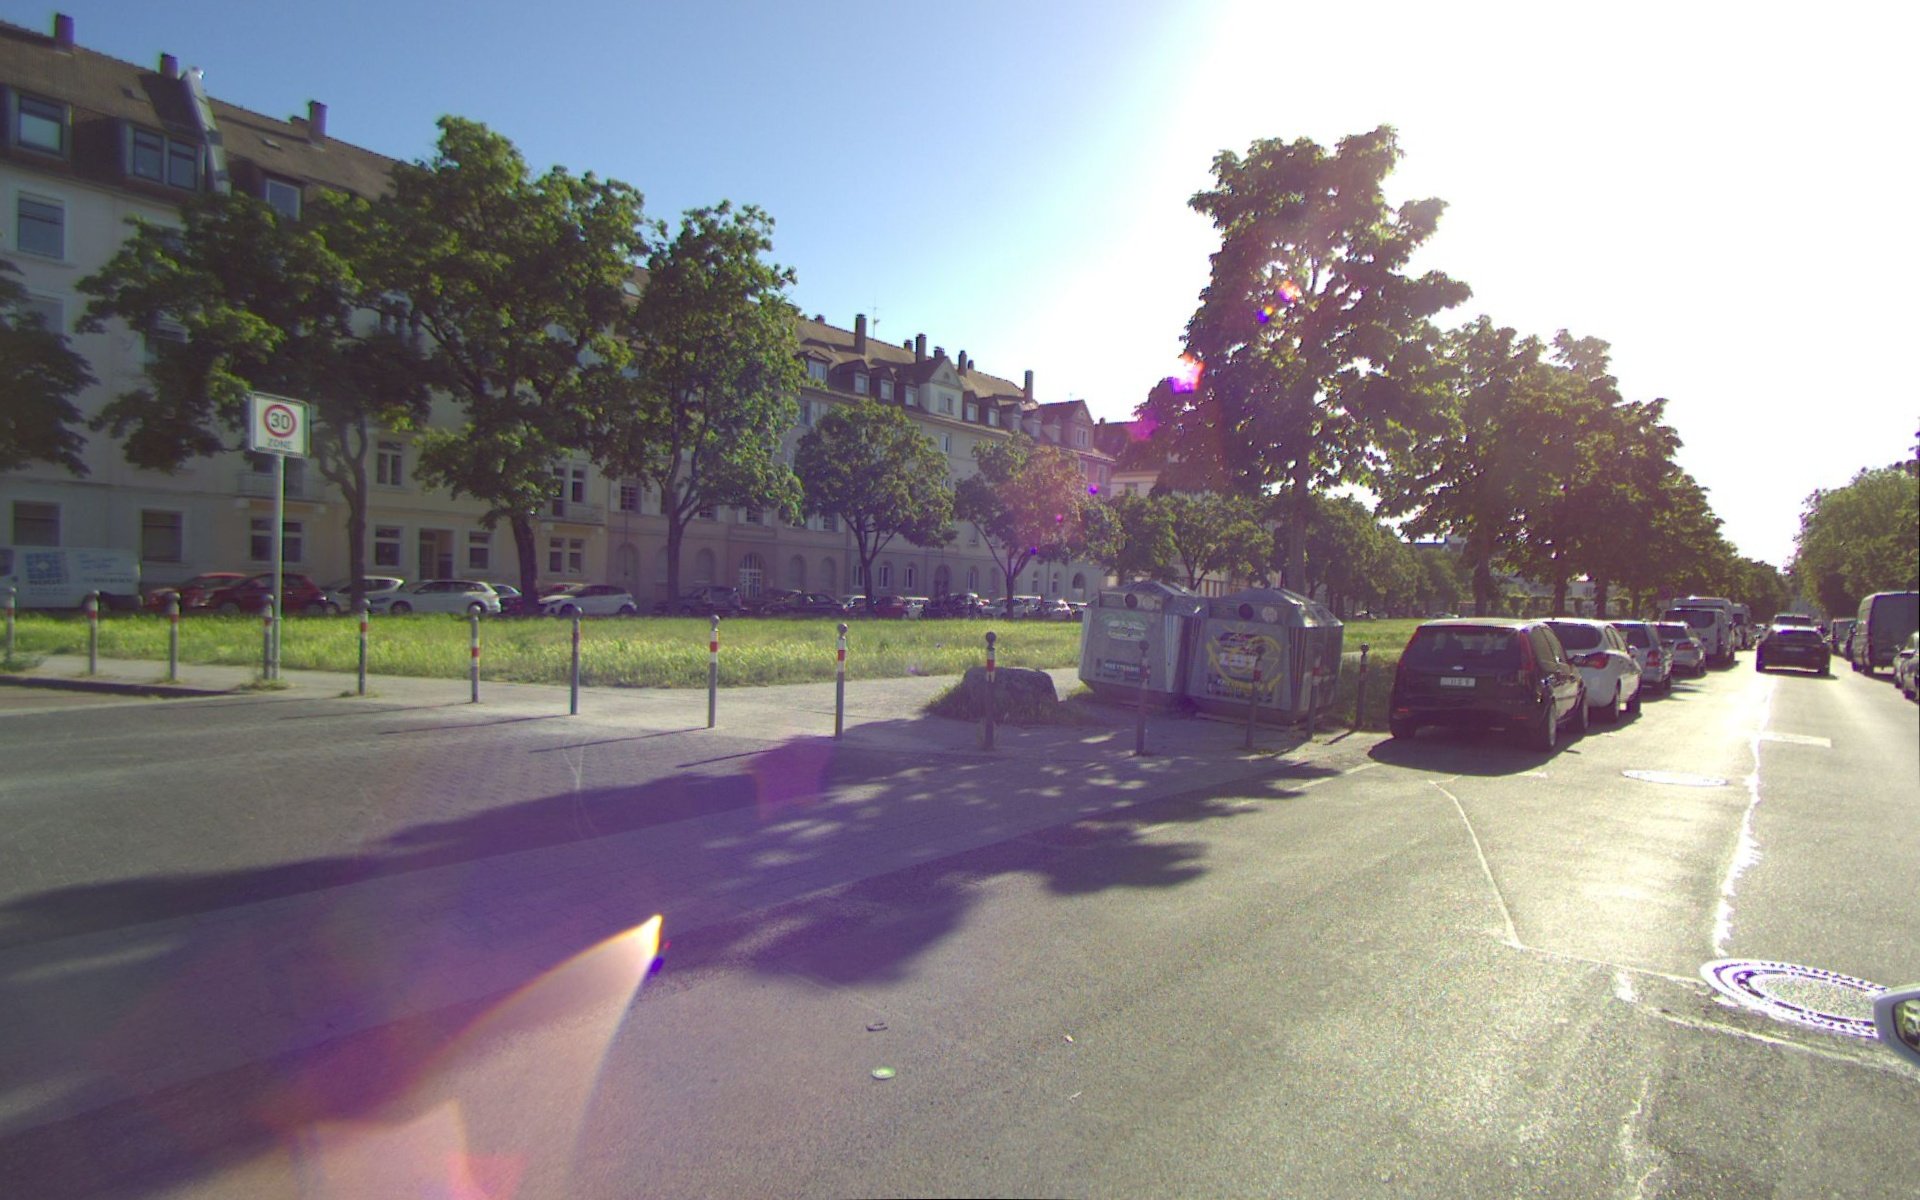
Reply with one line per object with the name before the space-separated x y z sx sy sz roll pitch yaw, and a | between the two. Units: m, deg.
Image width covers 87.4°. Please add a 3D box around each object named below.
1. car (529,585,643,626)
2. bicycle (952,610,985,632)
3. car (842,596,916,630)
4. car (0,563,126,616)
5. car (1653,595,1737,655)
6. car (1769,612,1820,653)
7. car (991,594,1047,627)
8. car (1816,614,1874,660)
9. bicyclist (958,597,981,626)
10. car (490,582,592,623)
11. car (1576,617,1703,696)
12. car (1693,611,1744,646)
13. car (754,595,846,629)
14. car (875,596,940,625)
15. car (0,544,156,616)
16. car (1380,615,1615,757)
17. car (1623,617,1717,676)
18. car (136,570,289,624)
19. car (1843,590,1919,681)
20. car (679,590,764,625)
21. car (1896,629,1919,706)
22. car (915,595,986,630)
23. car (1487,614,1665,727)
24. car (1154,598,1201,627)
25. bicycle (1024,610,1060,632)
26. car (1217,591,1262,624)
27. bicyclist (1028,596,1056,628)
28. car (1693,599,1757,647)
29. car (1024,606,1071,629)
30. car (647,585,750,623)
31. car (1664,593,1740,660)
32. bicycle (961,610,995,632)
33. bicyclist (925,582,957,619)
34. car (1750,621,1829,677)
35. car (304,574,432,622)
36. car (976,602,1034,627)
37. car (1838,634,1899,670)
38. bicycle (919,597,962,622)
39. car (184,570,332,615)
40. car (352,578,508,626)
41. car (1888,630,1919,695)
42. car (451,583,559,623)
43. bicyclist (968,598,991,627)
car | -15.087 0.237 40.676 1.672 1.547 4.065 2 1 37
bicycle | 0.455 1.105 53.063 0.723 1.093 1.947 2 1 38
car | -4.314 0.699 53.821 1.611 1.709 4.065 2 1 37
car | -29.509 -0.343 31.805 1.967 1.608 4.436 2 1 36
car | 26.238 0.864 35.804 2.074 1.968 4.107 2 1 40
car | 42.530 1.630 51.167 1.873 2.018 3.989 0 -1 41
car | 4.314 0.764 73.167 1.754 2.289 4.445 2 1 38
car | 48.808 2.004 55.467 2.137 2.323 5.241 2 0 39
bicyclist | 0.486 0.612 53.056 0.729 1.457 0.938 3 1 40
car | -17.658 0.105 42.428 1.754 1.623 3.576 2 1 39
car | 14.750 1.149 21.702 1.759 1.481 4.105 2 1 41
car | 42.484 1.589 56.228 1.987 1.809 4.105 2 0 41
car | -7.852 0.593 49.576 1.734 1.570 4.510 2 0 37
car | -3.304 0.672 64.063 1.918 1.775 4.008 2 1 39
car | -25.872 -0.555 27.978 2.055 1.897 5.078 2 1 37
car | 6.691 0.943 12.295 1.728 1.443 3.897 0 -2 41
car | 20.796 1.315 29.365 1.812 1.520 4.105 2 1 41
car | -26.546 -0.088 35.763 1.970 1.775 4.034 2 1 41
car | 30.533 1.124 32.720 2.135 2.725 5.396 2 0 37
car | -12.431 0.421 52.596 1.825 1.724 3.978 2 1 42
car | 21.007 1.416 20.992 1.758 1.507 4.014 2 0 39
car | -0.517 0.740 58.492 1.714 1.933 4.443 2 1 37
car | 9.680 1.017 15.656 1.757 1.514 3.855 0 -2 41
car | 17.397 1.017 80.241 1.672 2.243 4.989 2 0 37
bicycle | 4.843 1.233 59.097 0.800 1.269 2.623 2 1 38
car | 25.101 0.668 89.971 1.891 2.780 5.603 2 1 37
bicyclist | 4.846 0.723 59.120 0.930 1.862 1.443 1 -1 39
car | 46.140 1.375 60.517 2.587 2.681 6.083 2 1 41
car | 5.779 1.142 66.163 1.364 1.459 3.325 2 1 41
car | -11.562 0.179 44.662 1.611 1.570 4.337 2 1 37
car | 30.192 1.065 40.818 2.074 2.529 4.105 2 1 41
bicycle | 0.942 1.102 52.026 0.723 1.093 1.947 2 1 38
bicyclist | -0.993 0.034 52.792 0.929 1.862 1.444 1 -1 36
car | 26.455 1.517 31.979 1.759 1.551 3.979 4 2 41
car | -23.300 -0.045 39.634 1.840 1.780 3.982 2 1 39
car | 2.824 0.916 62.555 1.674 1.448 3.755 2 1 41
car | 42.403 2.395 46.967 1.966 1.507 4.105 2 1 41
bicycle | -0.996 0.510 52.837 0.799 1.269 2.625 2 1 36
car | -22.212 -0.209 31.881 1.672 1.296 3.512 2 1 37
car | -18.884 0.088 35.981 1.672 1.582 4.679 2 1 37
car | 24.347 1.538 24.756 1.966 1.507 4.105 2 1 41
car | -19.791 0.155 43.805 1.862 1.636 3.844 2 1 39
bicyclist | 0.988 0.664 52.057 0.729 1.456 0.938 1 -1 40
